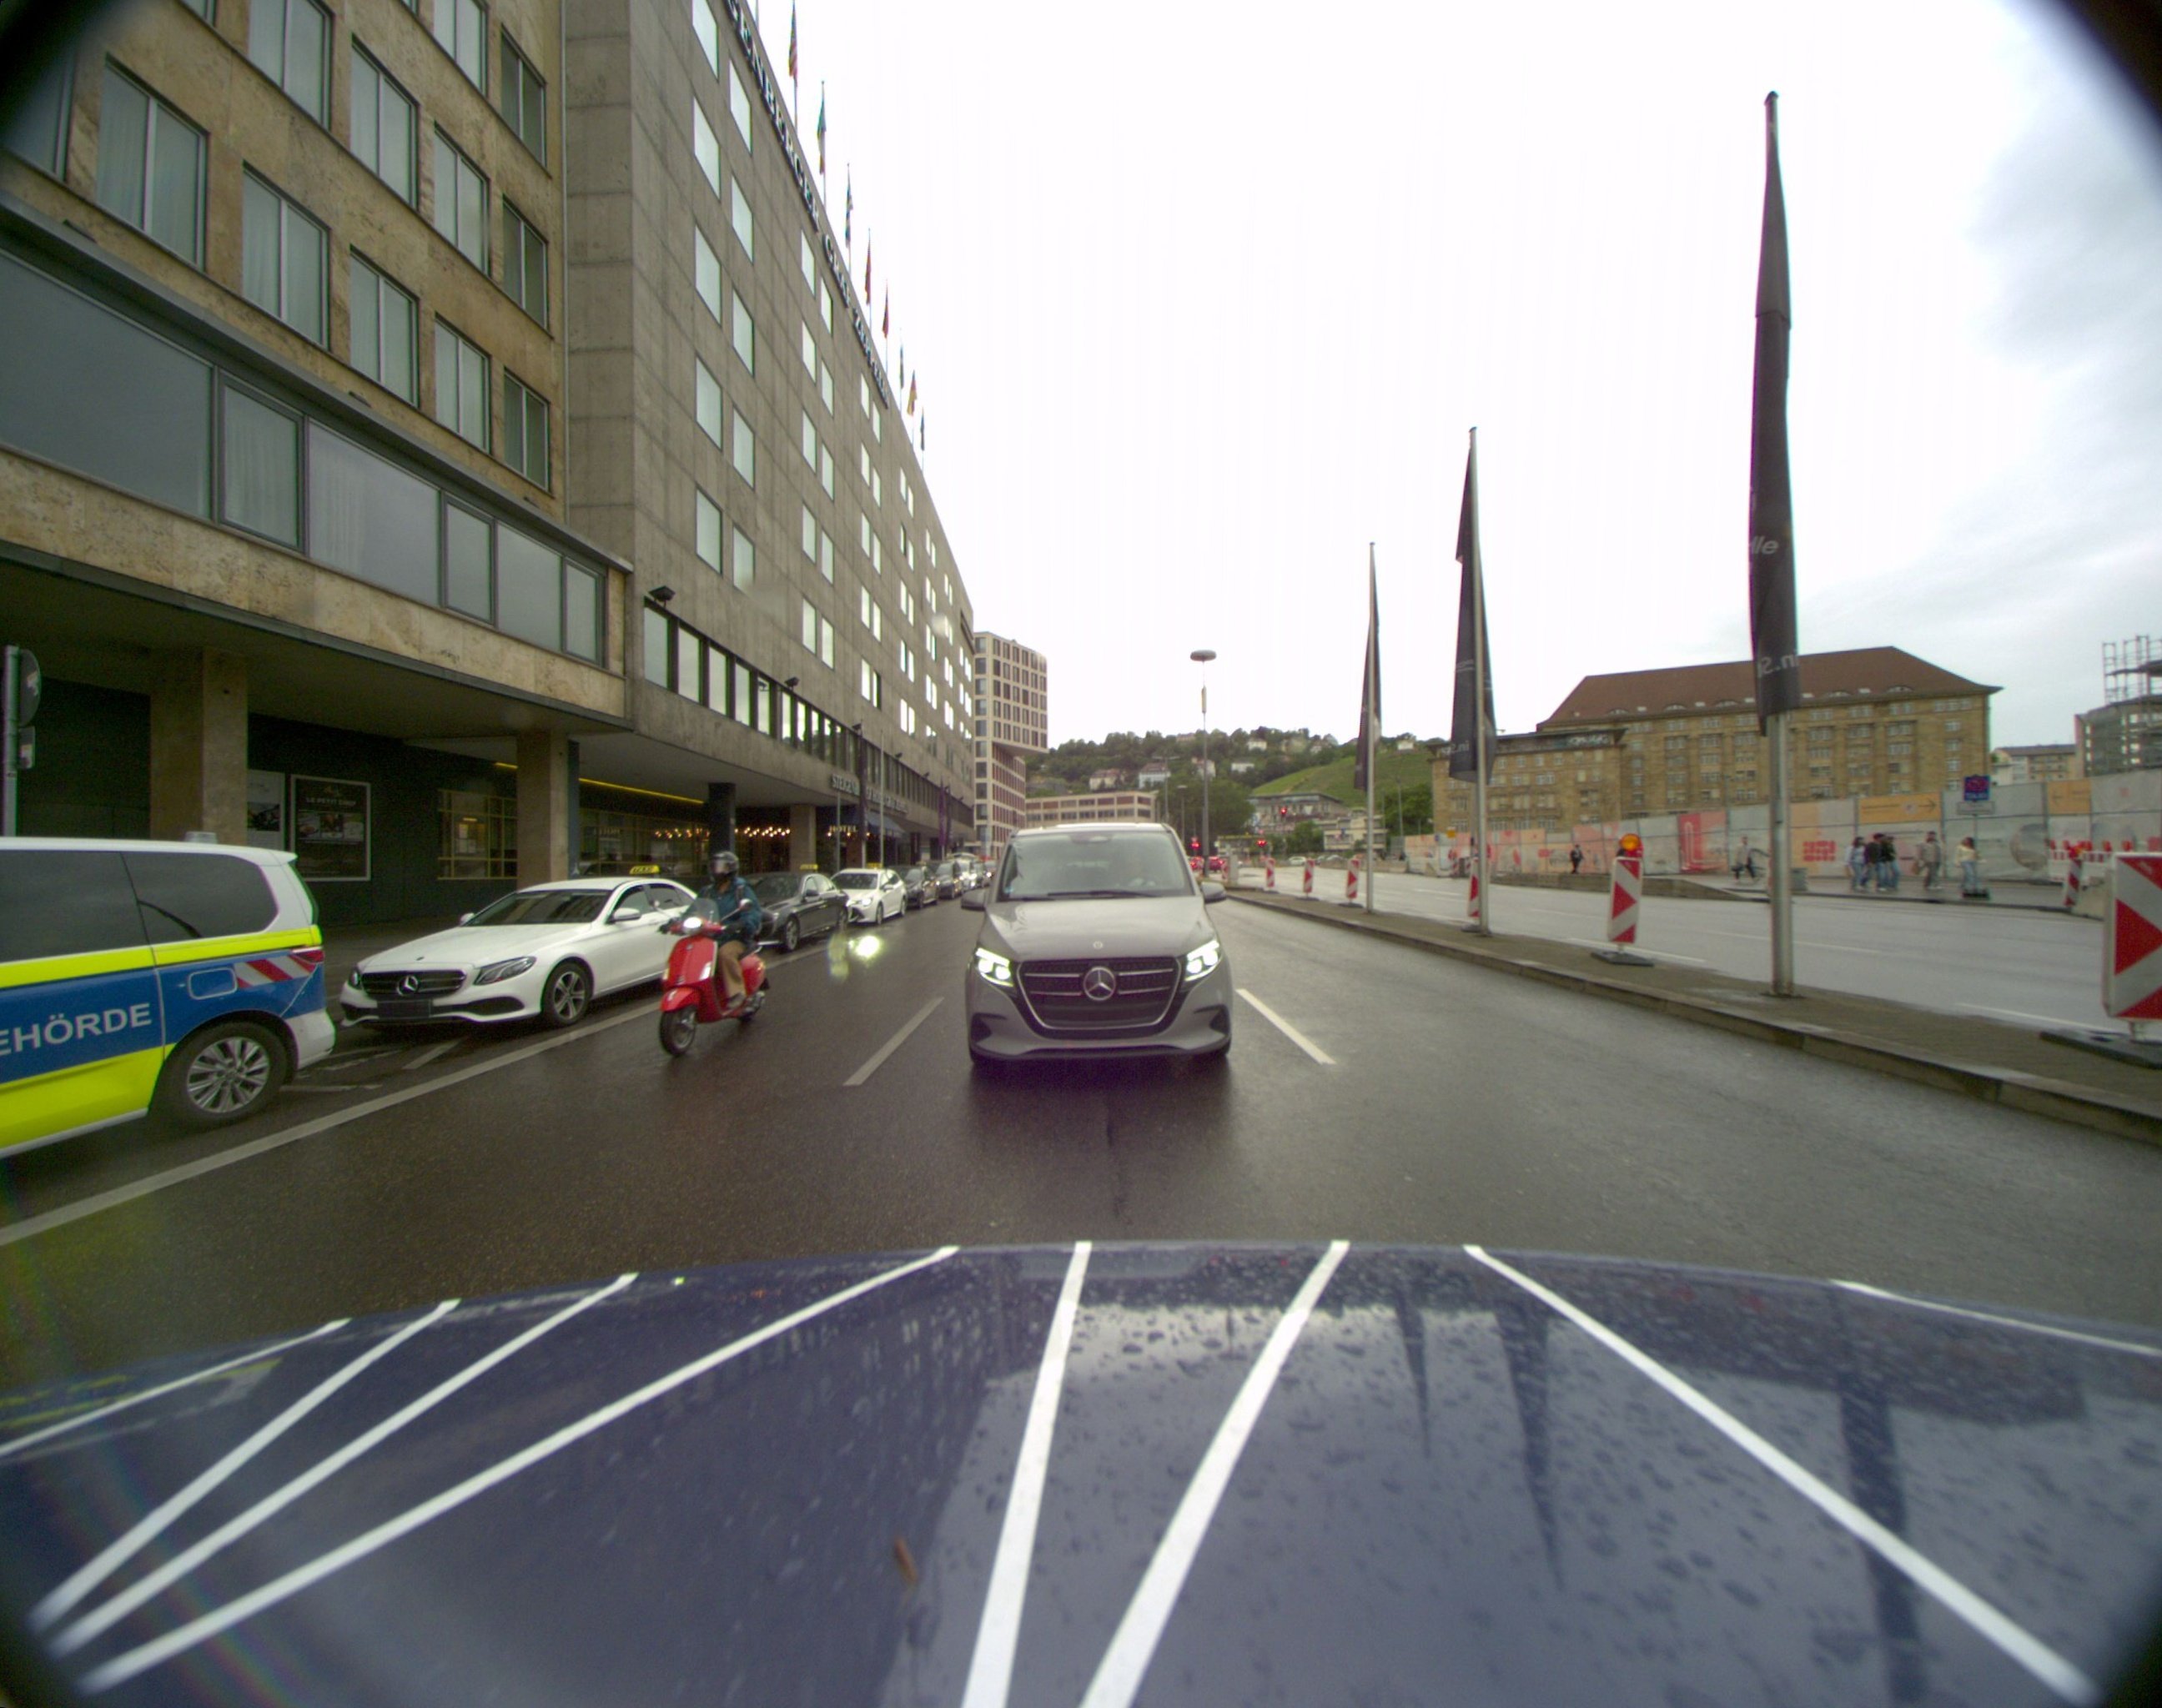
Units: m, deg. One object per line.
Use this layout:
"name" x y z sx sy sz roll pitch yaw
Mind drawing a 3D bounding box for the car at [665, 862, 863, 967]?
"car" -6.074 1.046 15.303 1.879 1.628 4.814 -2 1 0

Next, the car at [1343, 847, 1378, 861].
"car" 36.688 -0.001 99.837 3.993 1.622 2.002 -1 0 14

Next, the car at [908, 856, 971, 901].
"car" -6.052 0.991 33.016 1.731 1.732 4.814 -2 1 0

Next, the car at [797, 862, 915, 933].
"car" -6.041 1.086 21.030 1.731 1.583 4.814 -2 1 0

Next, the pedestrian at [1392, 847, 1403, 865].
"pedestrian" 29.804 0.191 71.569 0.715 1.606 0.544 -2 1 1

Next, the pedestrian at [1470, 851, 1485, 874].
"pedestrian" 28.006 0.576 53.644 0.715 1.606 0.544 -2 1 1

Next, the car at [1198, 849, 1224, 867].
"car" 12.329 0.392 72.203 1.785 1.684 3.916 -1 0 0

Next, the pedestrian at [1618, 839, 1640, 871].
"pedestrian" 28.301 0.067 39.264 0.715 1.606 0.544 -2 1 1

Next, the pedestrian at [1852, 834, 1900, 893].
"pedestrian" 23.705 0.282 22.667 0.714 1.723 0.718 -2 1 19

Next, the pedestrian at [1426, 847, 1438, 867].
"pedestrian" 27.742 0.226 60.047 0.715 1.606 0.544 -2 1 1

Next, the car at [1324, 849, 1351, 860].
"car" 41.018 0.052 121.697 3.993 1.622 2.002 -1 0 14

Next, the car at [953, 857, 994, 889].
"car" -6.125 1.057 43.721 1.731 1.604 4.001 -2 1 0

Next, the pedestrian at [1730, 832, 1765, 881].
"pedestrian" 25.309 0.095 28.846 0.664 1.825 0.720 -2 1 1

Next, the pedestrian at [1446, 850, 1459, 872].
"pedestrian" 27.822 0.522 56.892 0.715 1.606 0.544 -2 1 1

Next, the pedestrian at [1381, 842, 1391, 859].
"pedestrian" 30.896 -0.352 76.981 0.715 1.606 0.544 -2 1 5

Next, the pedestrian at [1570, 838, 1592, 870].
"pedestrian" 26.131 0.004 39.707 0.715 1.606 0.544 -2 1 1

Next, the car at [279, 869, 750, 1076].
"car" -6.091 1.097 9.219 1.879 1.628 5.010 -2 1 0

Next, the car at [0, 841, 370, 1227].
"car" -6.321 0.933 3.216 1.879 1.909 4.935 -2 1 0

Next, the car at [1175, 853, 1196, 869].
"car" 11.827 0.726 86.319 1.785 1.684 3.916 -2 1 -1

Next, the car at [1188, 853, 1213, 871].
"car" 12.324 0.770 78.451 1.785 1.684 3.916 -2 1 -1

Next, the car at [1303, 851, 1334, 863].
"car" 32.646 0.424 104.570 3.993 1.622 2.002 -1 0 14

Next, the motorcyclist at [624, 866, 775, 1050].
"motorcyclist" -3.409 0.891 6.869 0.861 1.519 0.844 -2 1 1

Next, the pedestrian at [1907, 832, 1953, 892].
"pedestrian" 25.000 0.233 22.381 0.714 1.734 0.564 -2 1 21

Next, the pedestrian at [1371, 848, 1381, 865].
"pedestrian" 29.972 0.256 77.159 0.715 1.606 0.544 -2 1 5

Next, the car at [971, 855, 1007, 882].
"car" -5.873 0.905 48.899 1.731 1.604 4.001 -2 1 0

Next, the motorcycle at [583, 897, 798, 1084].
"motorcycle" -3.388 1.114 6.866 0.848 1.299 1.965 -2 1 1

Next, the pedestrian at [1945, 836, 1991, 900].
"pedestrian" 25.636 0.395 21.964 0.661 1.825 0.556 -2 1 21

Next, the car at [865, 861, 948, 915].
"car" -6.044 1.116 26.845 1.731 1.583 4.814 -2 1 0

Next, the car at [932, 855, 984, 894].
"car" -6.090 0.950 38.213 1.731 1.732 4.814 -2 1 0

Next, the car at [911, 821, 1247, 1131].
"car" 0.027 0.738 7.271 1.998 1.849 5.160 -2 1 1

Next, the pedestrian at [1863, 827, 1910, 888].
"pedestrian" 24.558 0.102 23.182 0.714 1.825 0.718 -2 1 19

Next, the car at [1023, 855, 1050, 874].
"car" -4.089 0.964 70.382 2.089 1.540 4.587 -2 1 0

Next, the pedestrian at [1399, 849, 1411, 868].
"pedestrian" 28.376 0.365 66.546 0.715 1.606 0.544 -2 1 1

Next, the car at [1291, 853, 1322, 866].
"car" 34.898 0.800 117.670 4.194 1.846 1.832 -2 1 6

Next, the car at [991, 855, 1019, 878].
"car" -5.905 0.954 59.220 1.731 1.604 4.001 -2 1 0
